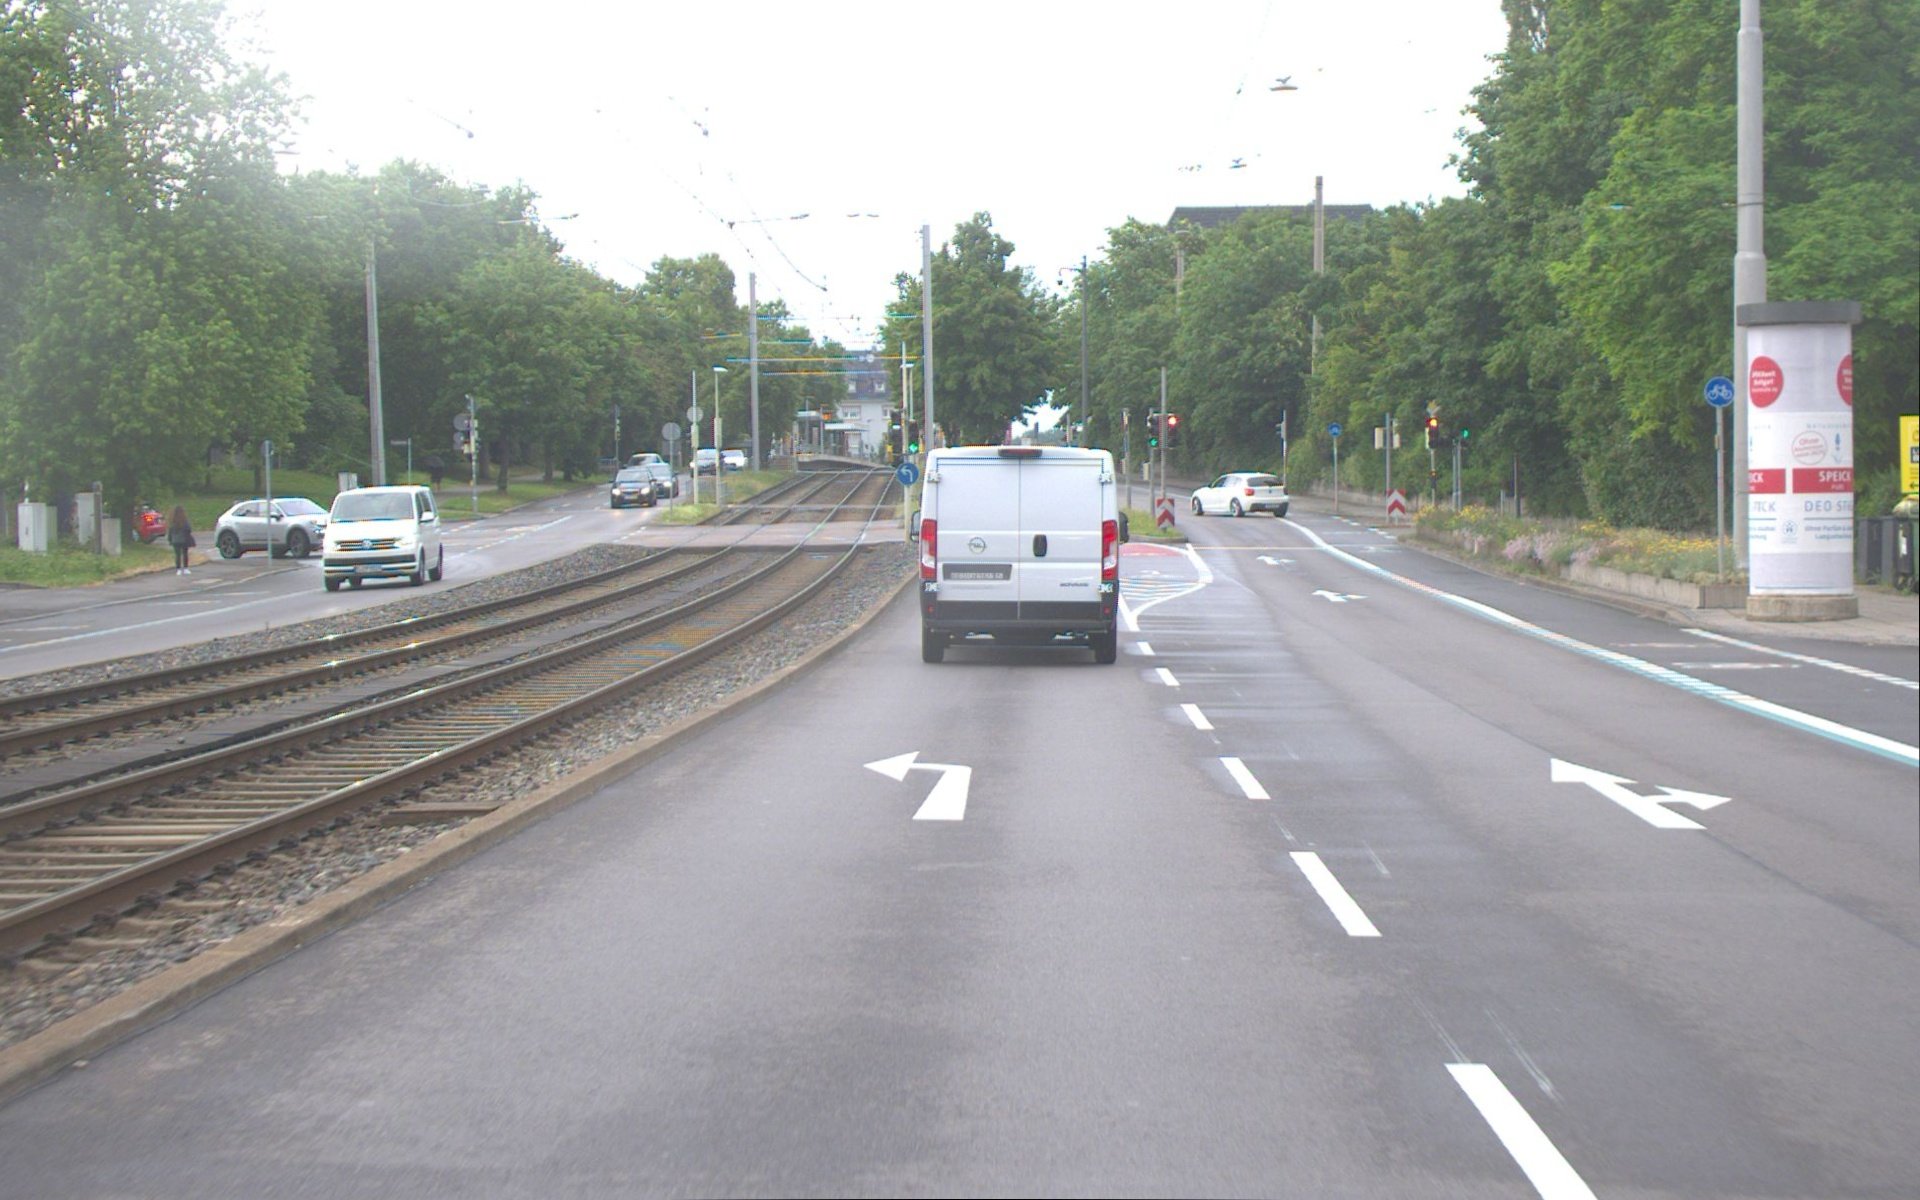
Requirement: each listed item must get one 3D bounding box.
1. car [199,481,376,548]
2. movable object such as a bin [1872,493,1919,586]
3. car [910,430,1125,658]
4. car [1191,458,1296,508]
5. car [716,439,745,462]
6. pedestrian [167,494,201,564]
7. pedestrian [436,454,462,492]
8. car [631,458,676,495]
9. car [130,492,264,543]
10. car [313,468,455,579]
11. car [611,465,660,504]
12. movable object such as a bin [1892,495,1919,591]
[{"bbox_3d":[-18.589,-2.347,94.945,4.753,1.643,1.996,-1,3,35],"label":"car"},{"bbox_3d":[14.765,-0.924,52.814,1.184,1.413,1.135,1,0,-1],"label":"movable object such as a bin"},{"bbox_3d":[0.591,-0.643,36.943,2.146,2.275,5.063,0,2,0],"label":"car"},{"bbox_3d":[9.190,-3.820,111.826,1.703,1.516,3.793,-1,4,-25],"label":"car"},{"bbox_3d":[-14.417,-9.412,216.126,1.601,1.397,3.792,1,3,-1],"label":"car"},{"bbox_3d":[-17.289,-1.581,76.613,0.591,1.526,0.668,1,0,0],"label":"pedestrian"},{"bbox_3d":[-21.634,-5.381,145.609,1.013,1.595,1.040,-1,3,-6],"label":"pedestrian"},{"bbox_3d":[-13.024,-5.237,146.084,1.601,1.397,3.792,-1,0,-1],"label":"car"},{"bbox_3d":[-23.874,-2.596,107.719,3.964,1.528,1.843,1,1,-9],"label":"car"},{"bbox_3d":[-11.339,-1.543,68.003,1.993,2.006,5.061,-3,2,-2],"label":"car"},{"bbox_3d":[-12.671,-4.535,134.347,1.601,1.397,3.792,1,3,-1],"label":"car"},{"bbox_3d":[14.769,-0.832,51.313,1.311,1.413,1.300,1,0,-1],"label":"movable object such as a bin"}]
